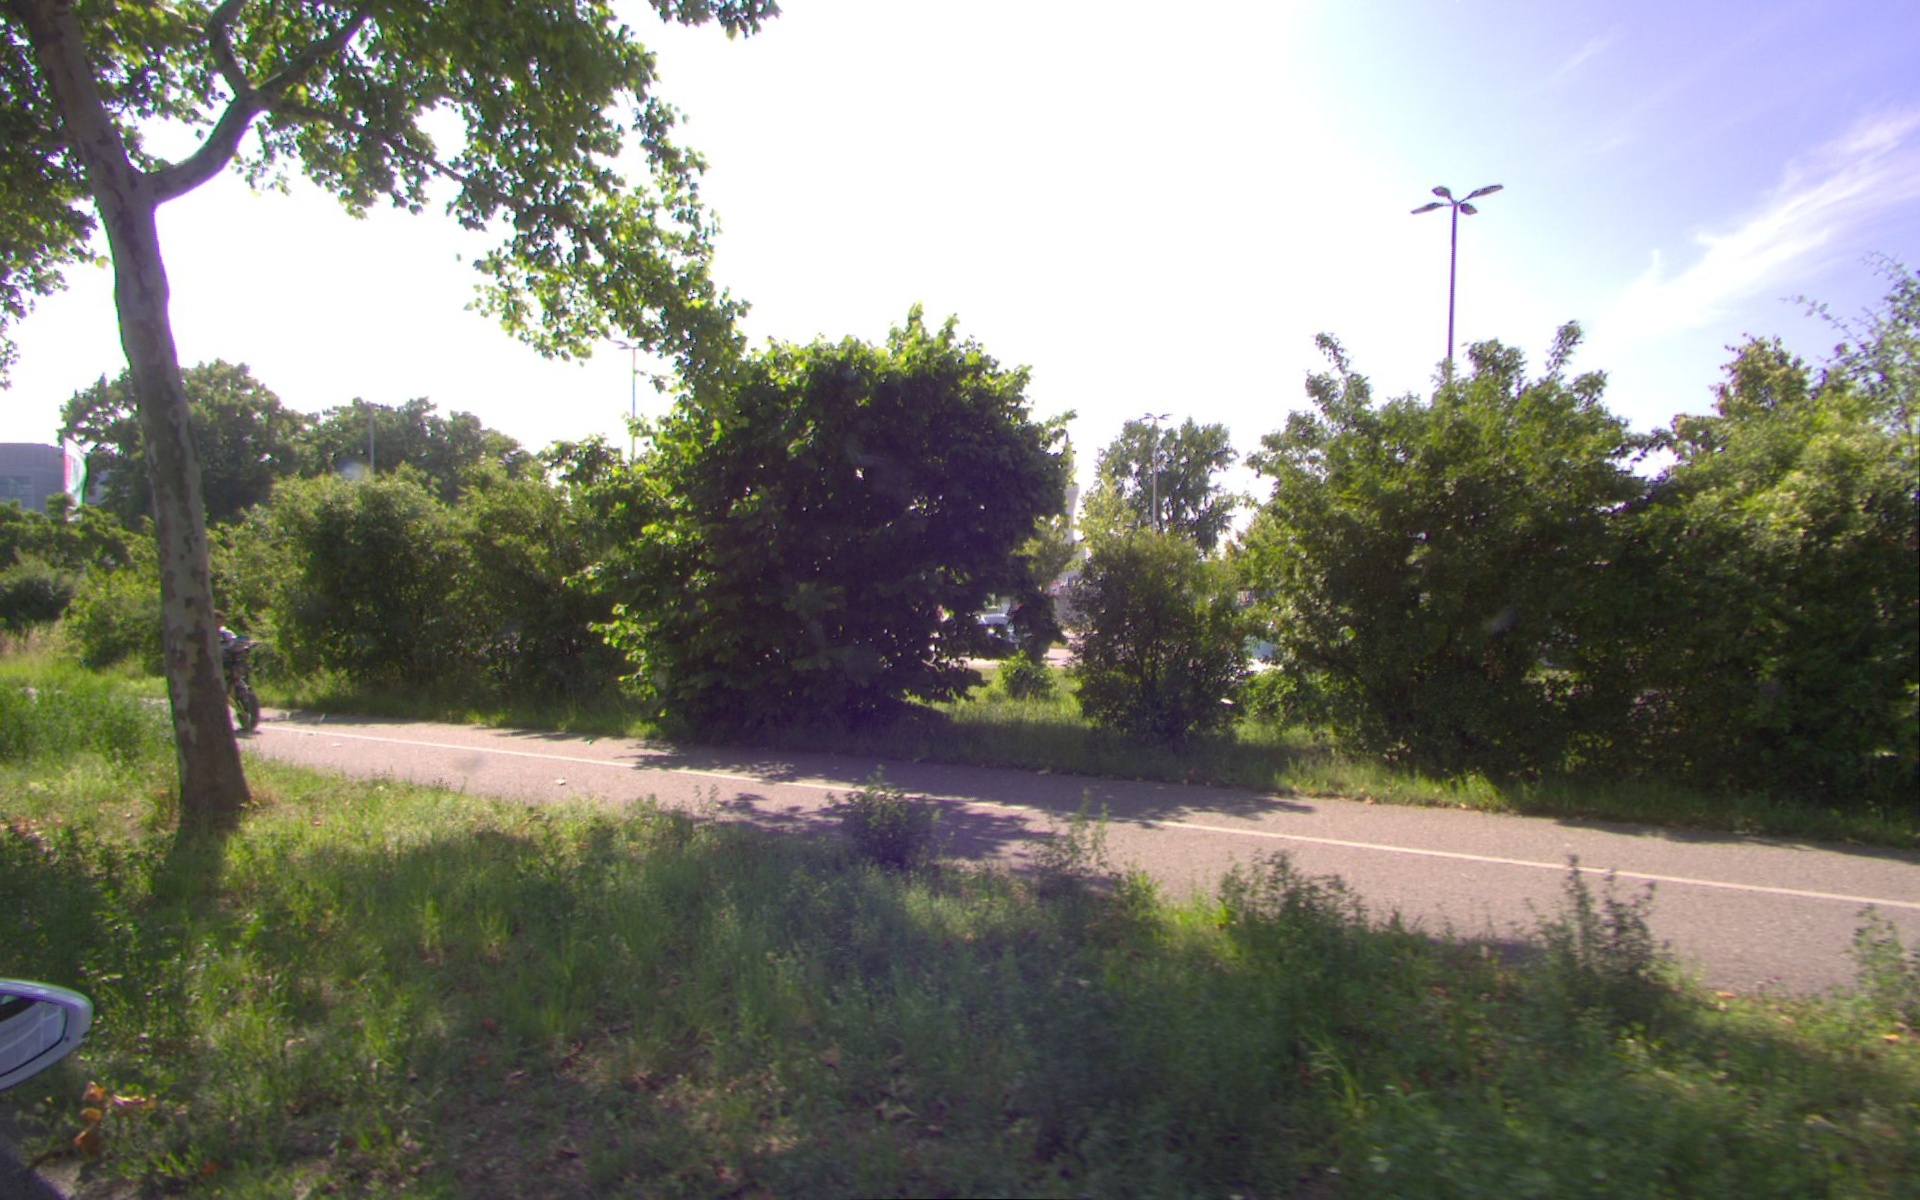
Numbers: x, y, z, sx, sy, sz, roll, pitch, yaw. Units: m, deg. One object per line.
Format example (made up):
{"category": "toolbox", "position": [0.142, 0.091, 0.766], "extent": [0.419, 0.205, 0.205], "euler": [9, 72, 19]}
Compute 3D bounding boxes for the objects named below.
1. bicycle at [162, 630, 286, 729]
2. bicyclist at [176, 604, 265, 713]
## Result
{"category": "bicycle", "position": [-10.440, 1.086, 14.182], "extent": [2.066, 1.315, 0.721], "euler": [-1, -1, 32]}
{"category": "bicyclist", "position": [-10.544, 0.821, 14.274], "extent": [0.995, 1.496, 0.703], "euler": [-1, -1, 32]}
